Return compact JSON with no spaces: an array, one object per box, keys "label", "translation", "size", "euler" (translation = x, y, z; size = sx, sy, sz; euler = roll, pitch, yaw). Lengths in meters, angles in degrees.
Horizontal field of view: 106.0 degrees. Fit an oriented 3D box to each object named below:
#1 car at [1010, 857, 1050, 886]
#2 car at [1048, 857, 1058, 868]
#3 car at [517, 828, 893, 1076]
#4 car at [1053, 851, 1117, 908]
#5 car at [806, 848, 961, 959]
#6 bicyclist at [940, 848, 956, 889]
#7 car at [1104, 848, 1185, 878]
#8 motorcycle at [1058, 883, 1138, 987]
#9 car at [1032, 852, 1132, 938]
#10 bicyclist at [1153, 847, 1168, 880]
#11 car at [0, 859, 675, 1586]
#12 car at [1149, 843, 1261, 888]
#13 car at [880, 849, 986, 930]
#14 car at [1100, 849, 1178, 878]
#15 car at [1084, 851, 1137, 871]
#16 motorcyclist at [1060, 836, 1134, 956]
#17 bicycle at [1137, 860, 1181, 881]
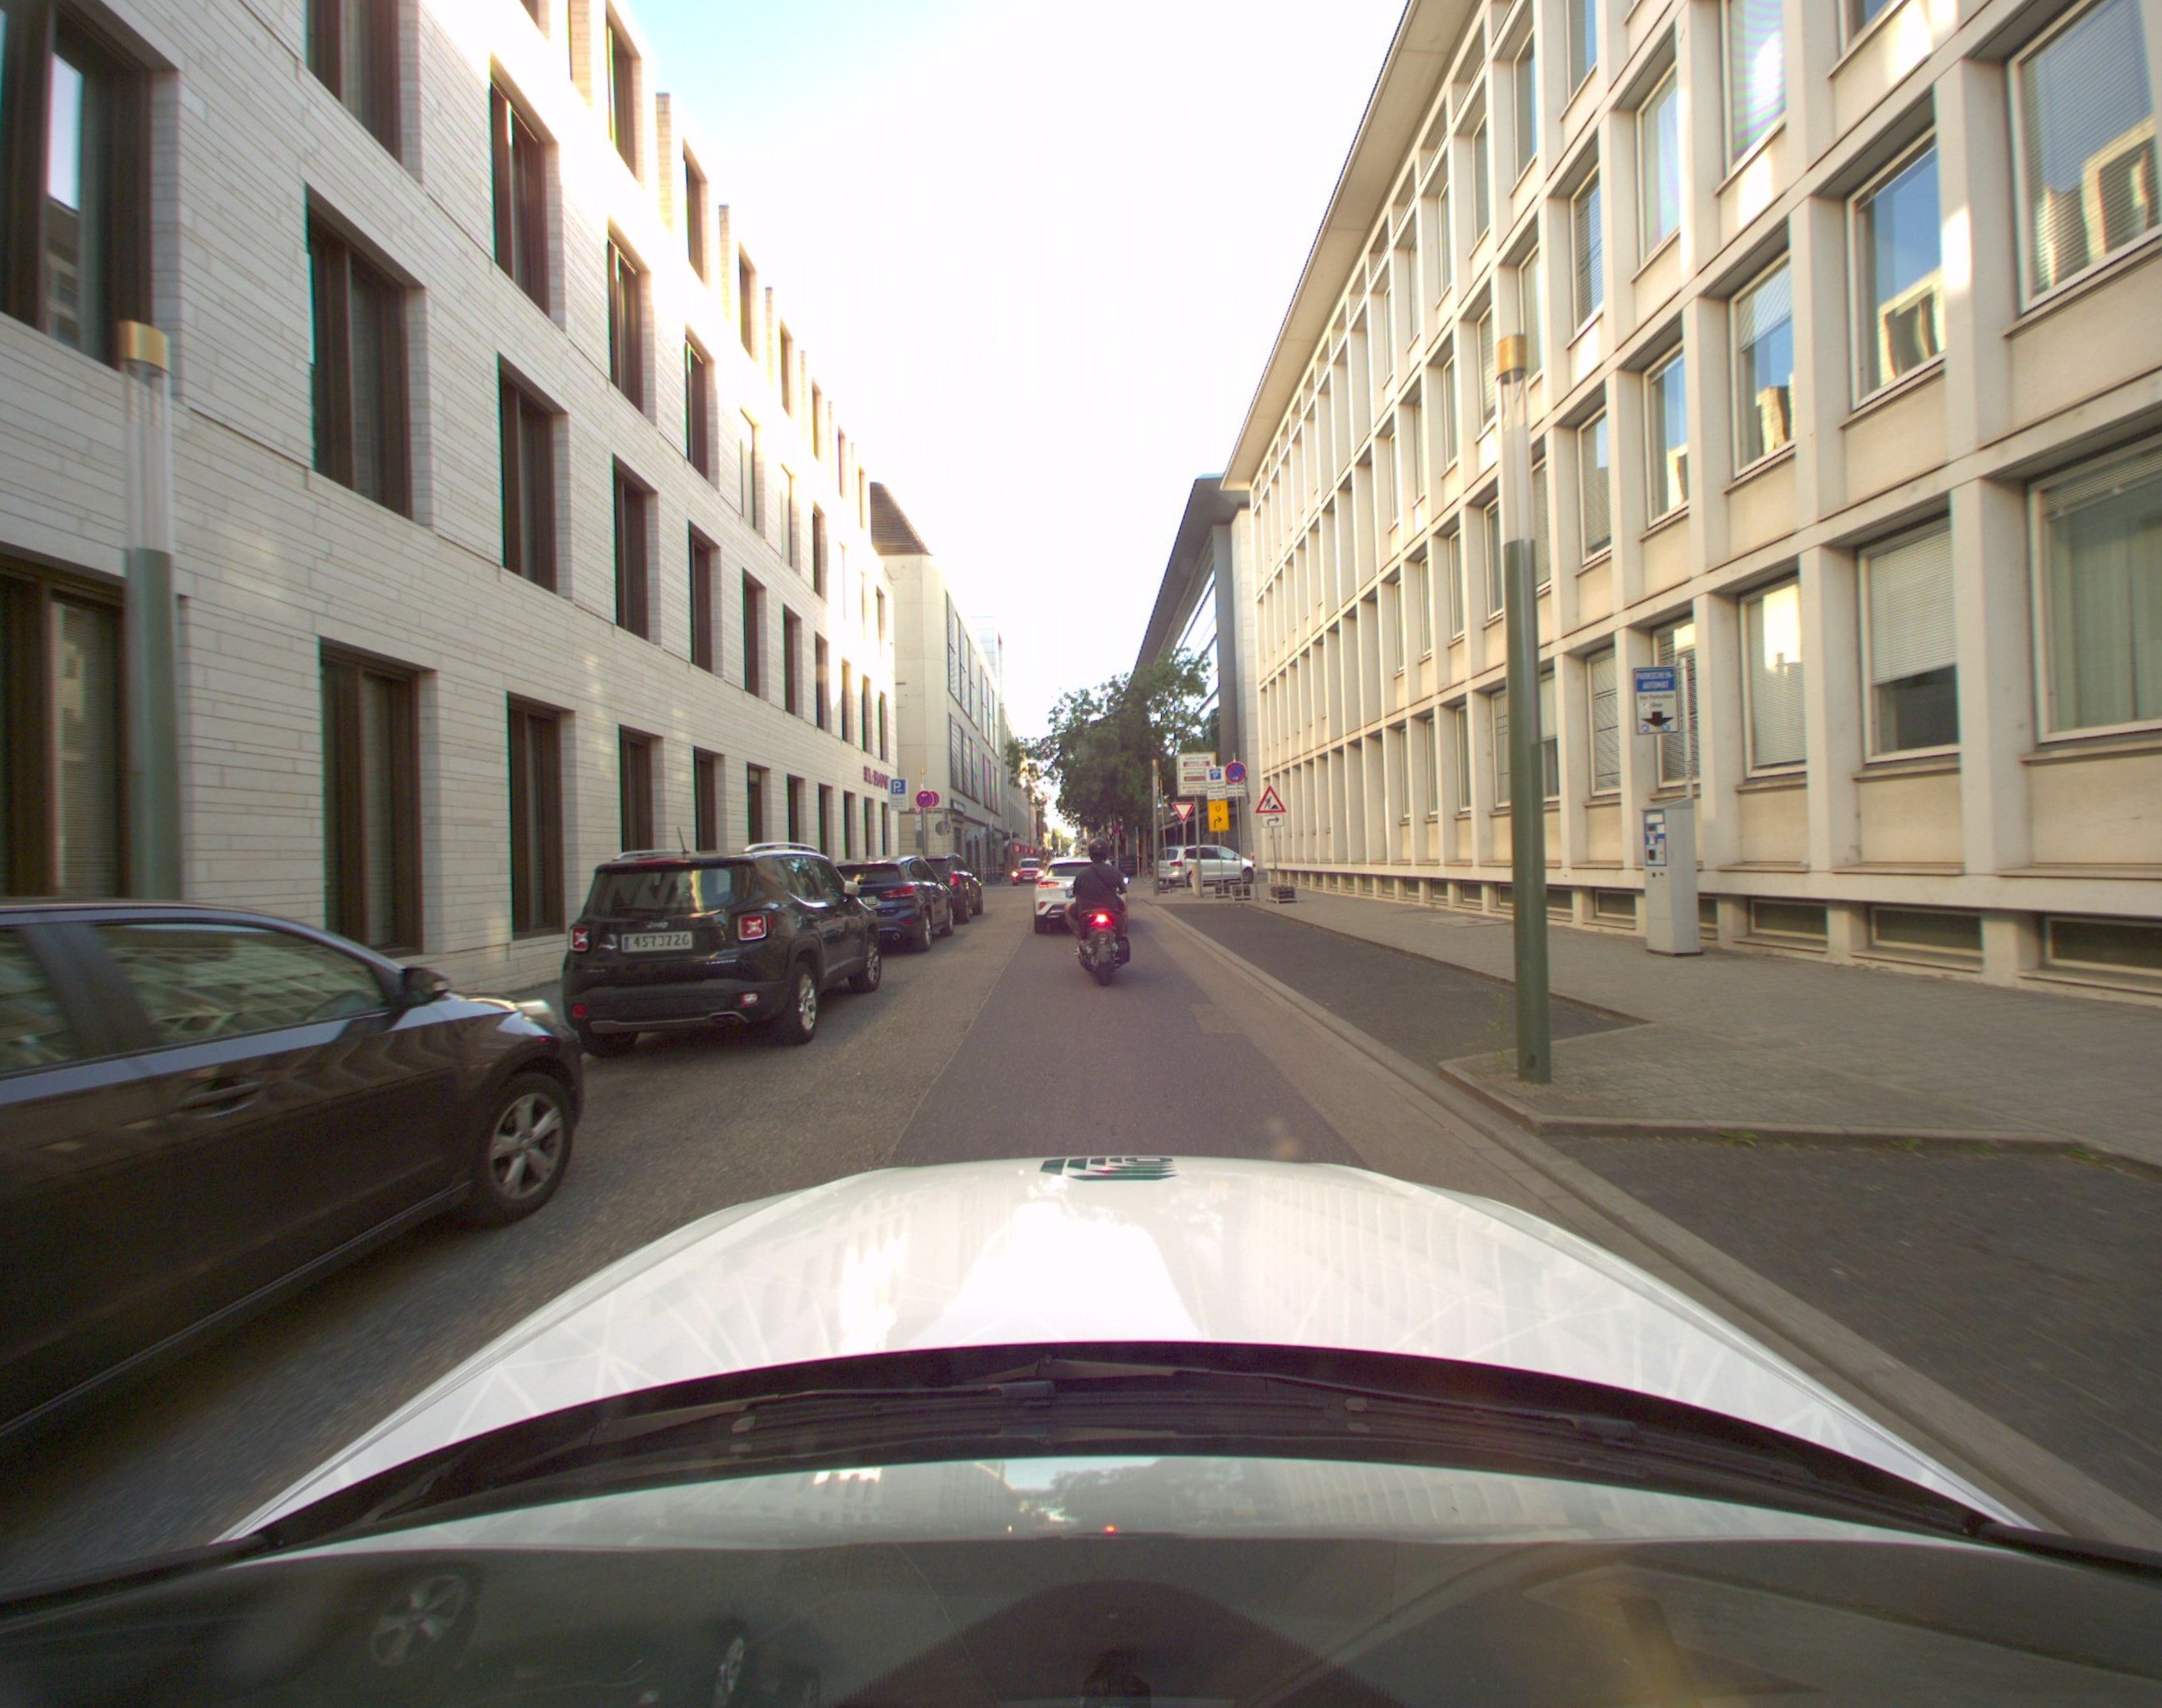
[{"label":"car","translation":[-2.799,1.012,45.829],"size":[1.816,1.465,4.264],"euler":[-2,-2,2]},{"label":"car","translation":[-5.623,1.714,165.188],"size":[1.989,2.329,5.015],"euler":[0,0,-3]},{"label":"car","translation":[-3.256,0.719,8.072],"size":[1.817,1.714,4.015],"euler":[-4,0,-1]},{"label":"car","translation":[0.073,0.746,26.278],"size":[1.817,1.541,4.362],"euler":[-4,0,-1]},{"label":"car","translation":[-3.334,0.751,14.547],"size":[1.735,1.594,4.151],"euler":[-4,0,-1]},{"label":"bicyclist","translation":[-5.683,0.633,34.827],"size":[0.552,1.732,0.498],"euler":[-1,-1,-20]},{"label":"car","translation":[4.091,0.610,53.009],"size":[4.994,1.451,1.998],"euler":[-5,-1,-3]},{"label":"motorcycle","translation":[0.200,0.928,9.961],"size":[0.869,1.109,1.839],"euler":[-1,-1,0]},{"label":"car","translation":[-0.020,0.746,17.292],"size":[1.817,1.541,4.261],"euler":[-2,0,-1]},{"label":"bicyclist","translation":[3.942,0.490,40.387],"size":[0.626,1.625,0.499],"euler":[-1,-1,10]},{"label":"car","translation":[-3.284,0.833,2.652],"size":[1.817,1.541,4.261],"euler":[-2,0,-1]},{"label":"car","translation":[5.260,0.422,34.410],"size":[4.507,1.645,1.811],"euler":[-2,3,-29]},{"label":"car","translation":[-3.531,0.787,20.240],"size":[1.817,1.677,4.262],"euler":[-4,0,-1]},{"label":"car","translation":[3.916,0.662,55.231],"size":[4.994,1.499,1.998],"euler":[-5,-1,-3]},{"label":"car","translation":[2.851,0.711,79.742],"size":[4.994,1.499,1.998],"euler":[-5,-1,-3]},{"label":"motorcyclist","translation":[0.188,0.509,10.006],"size":[0.864,1.427,0.455],"euler":[-1,-1,0]},{"label":"bicycle","translation":[3.882,0.833,40.391],"size":[2.089,0.995,0.520],"euler":[-1,-1,10]}]
